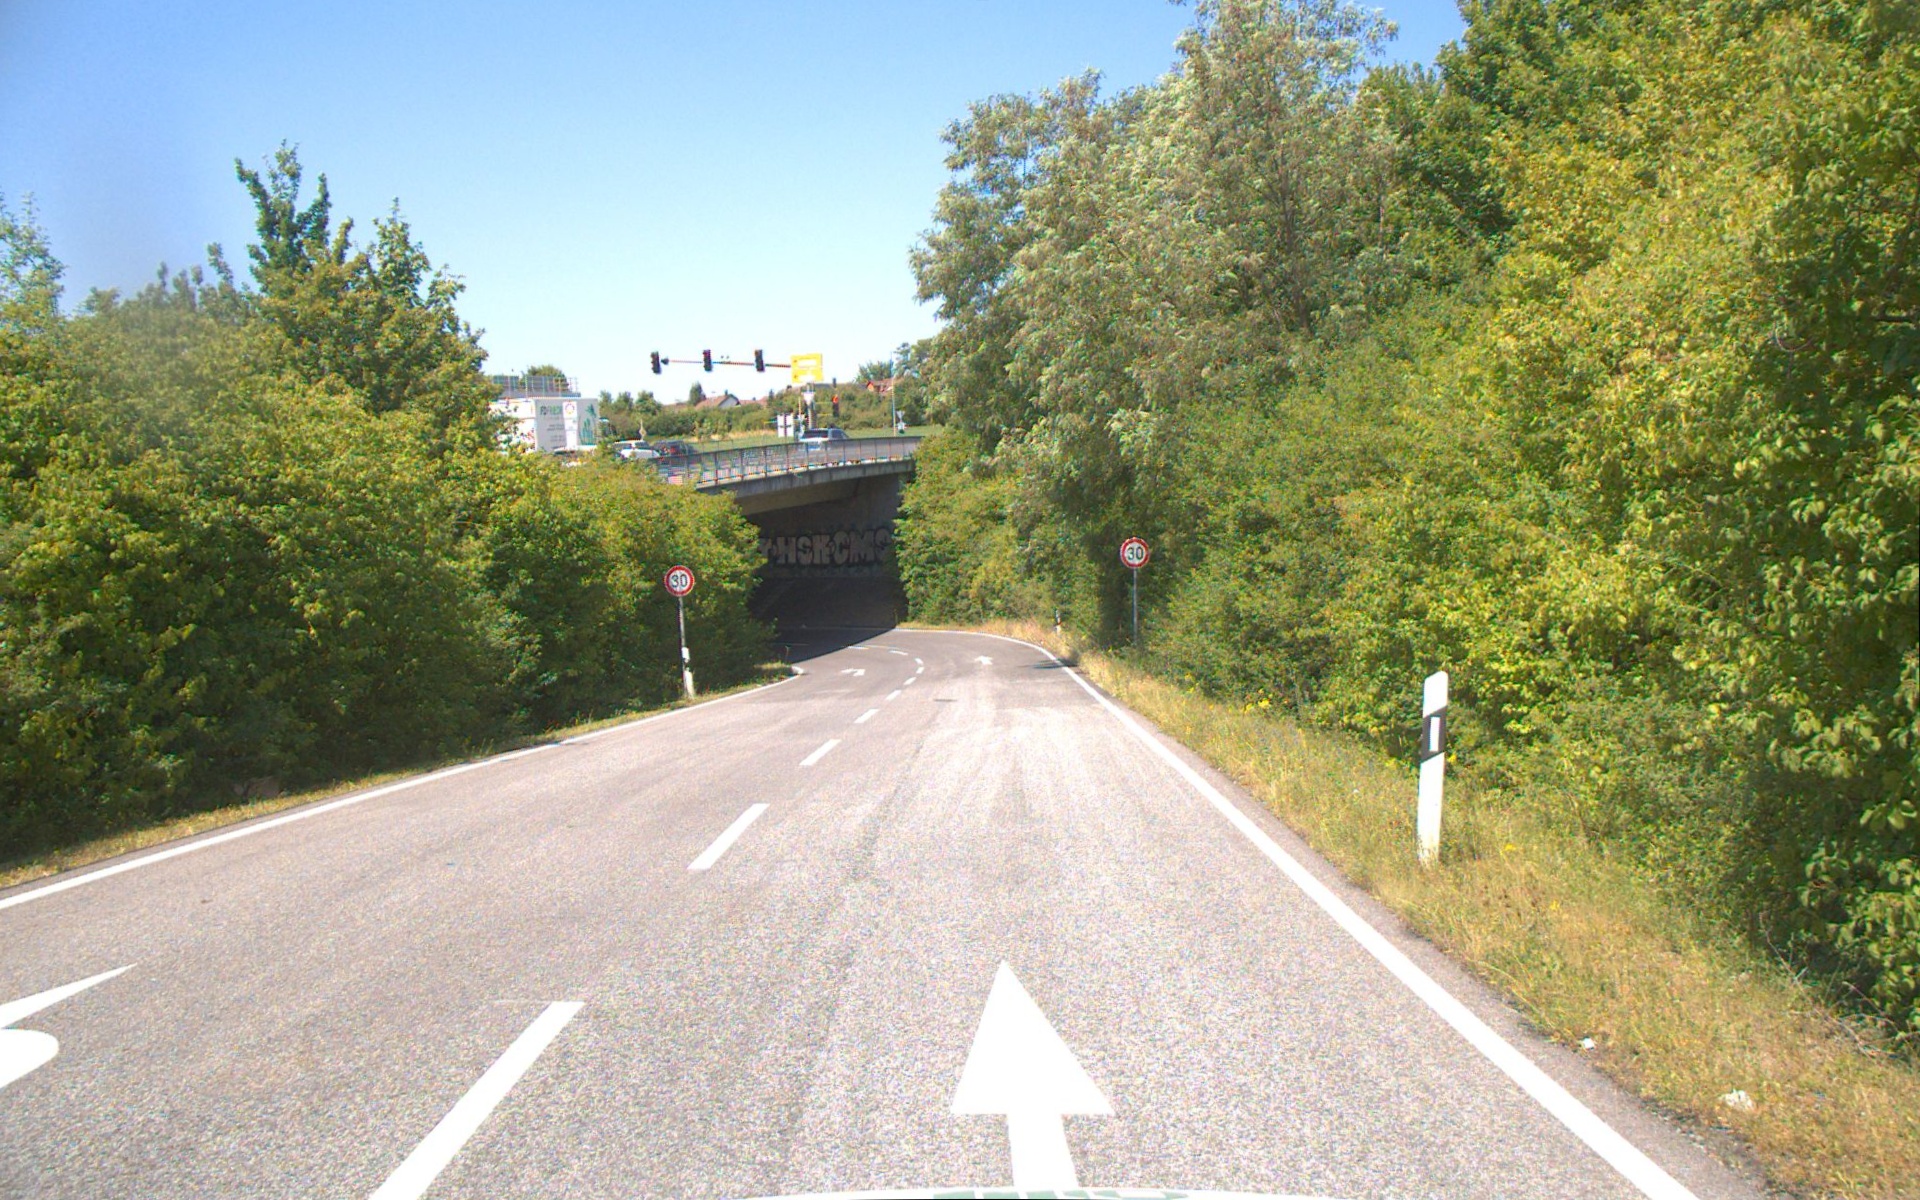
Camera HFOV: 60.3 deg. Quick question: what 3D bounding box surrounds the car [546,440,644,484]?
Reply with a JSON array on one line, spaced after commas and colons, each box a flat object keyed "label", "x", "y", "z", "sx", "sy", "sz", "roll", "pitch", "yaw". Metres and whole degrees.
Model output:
[{"label": "car", "x": -11.282, "y": -4.260, "z": 51.374, "sx": 1.577, "sy": 1.210, "sz": 3.484, "roll": -3, "pitch": 3, "yaw": 13}]

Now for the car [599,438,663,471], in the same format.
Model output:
[{"label": "car", "x": -16.868, "y": -7.465, "z": 84.979, "sx": 1.856, "sy": 1.386, "sz": 4.004, "roll": -1, "pitch": 2, "yaw": 11}]

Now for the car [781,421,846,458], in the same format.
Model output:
[{"label": "car", "x": -6.653, "y": -7.294, "z": 75.481, "sx": 1.951, "sy": 1.445, "sz": 4.005, "roll": -3, "pitch": 3, "yaw": 9}]

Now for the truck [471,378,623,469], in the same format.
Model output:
[{"label": "truck", "x": -18.898, "y": -8.034, "z": 76.436, "sx": 2.963, "sy": 3.650, "sz": 8.915, "roll": -3, "pitch": 3, "yaw": 12}]

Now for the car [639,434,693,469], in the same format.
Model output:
[{"label": "car", "x": -16.078, "y": -8.104, "z": 90.616, "sx": 1.951, "sy": 1.646, "sz": 4.003, "roll": -1, "pitch": 1, "yaw": 4}]
